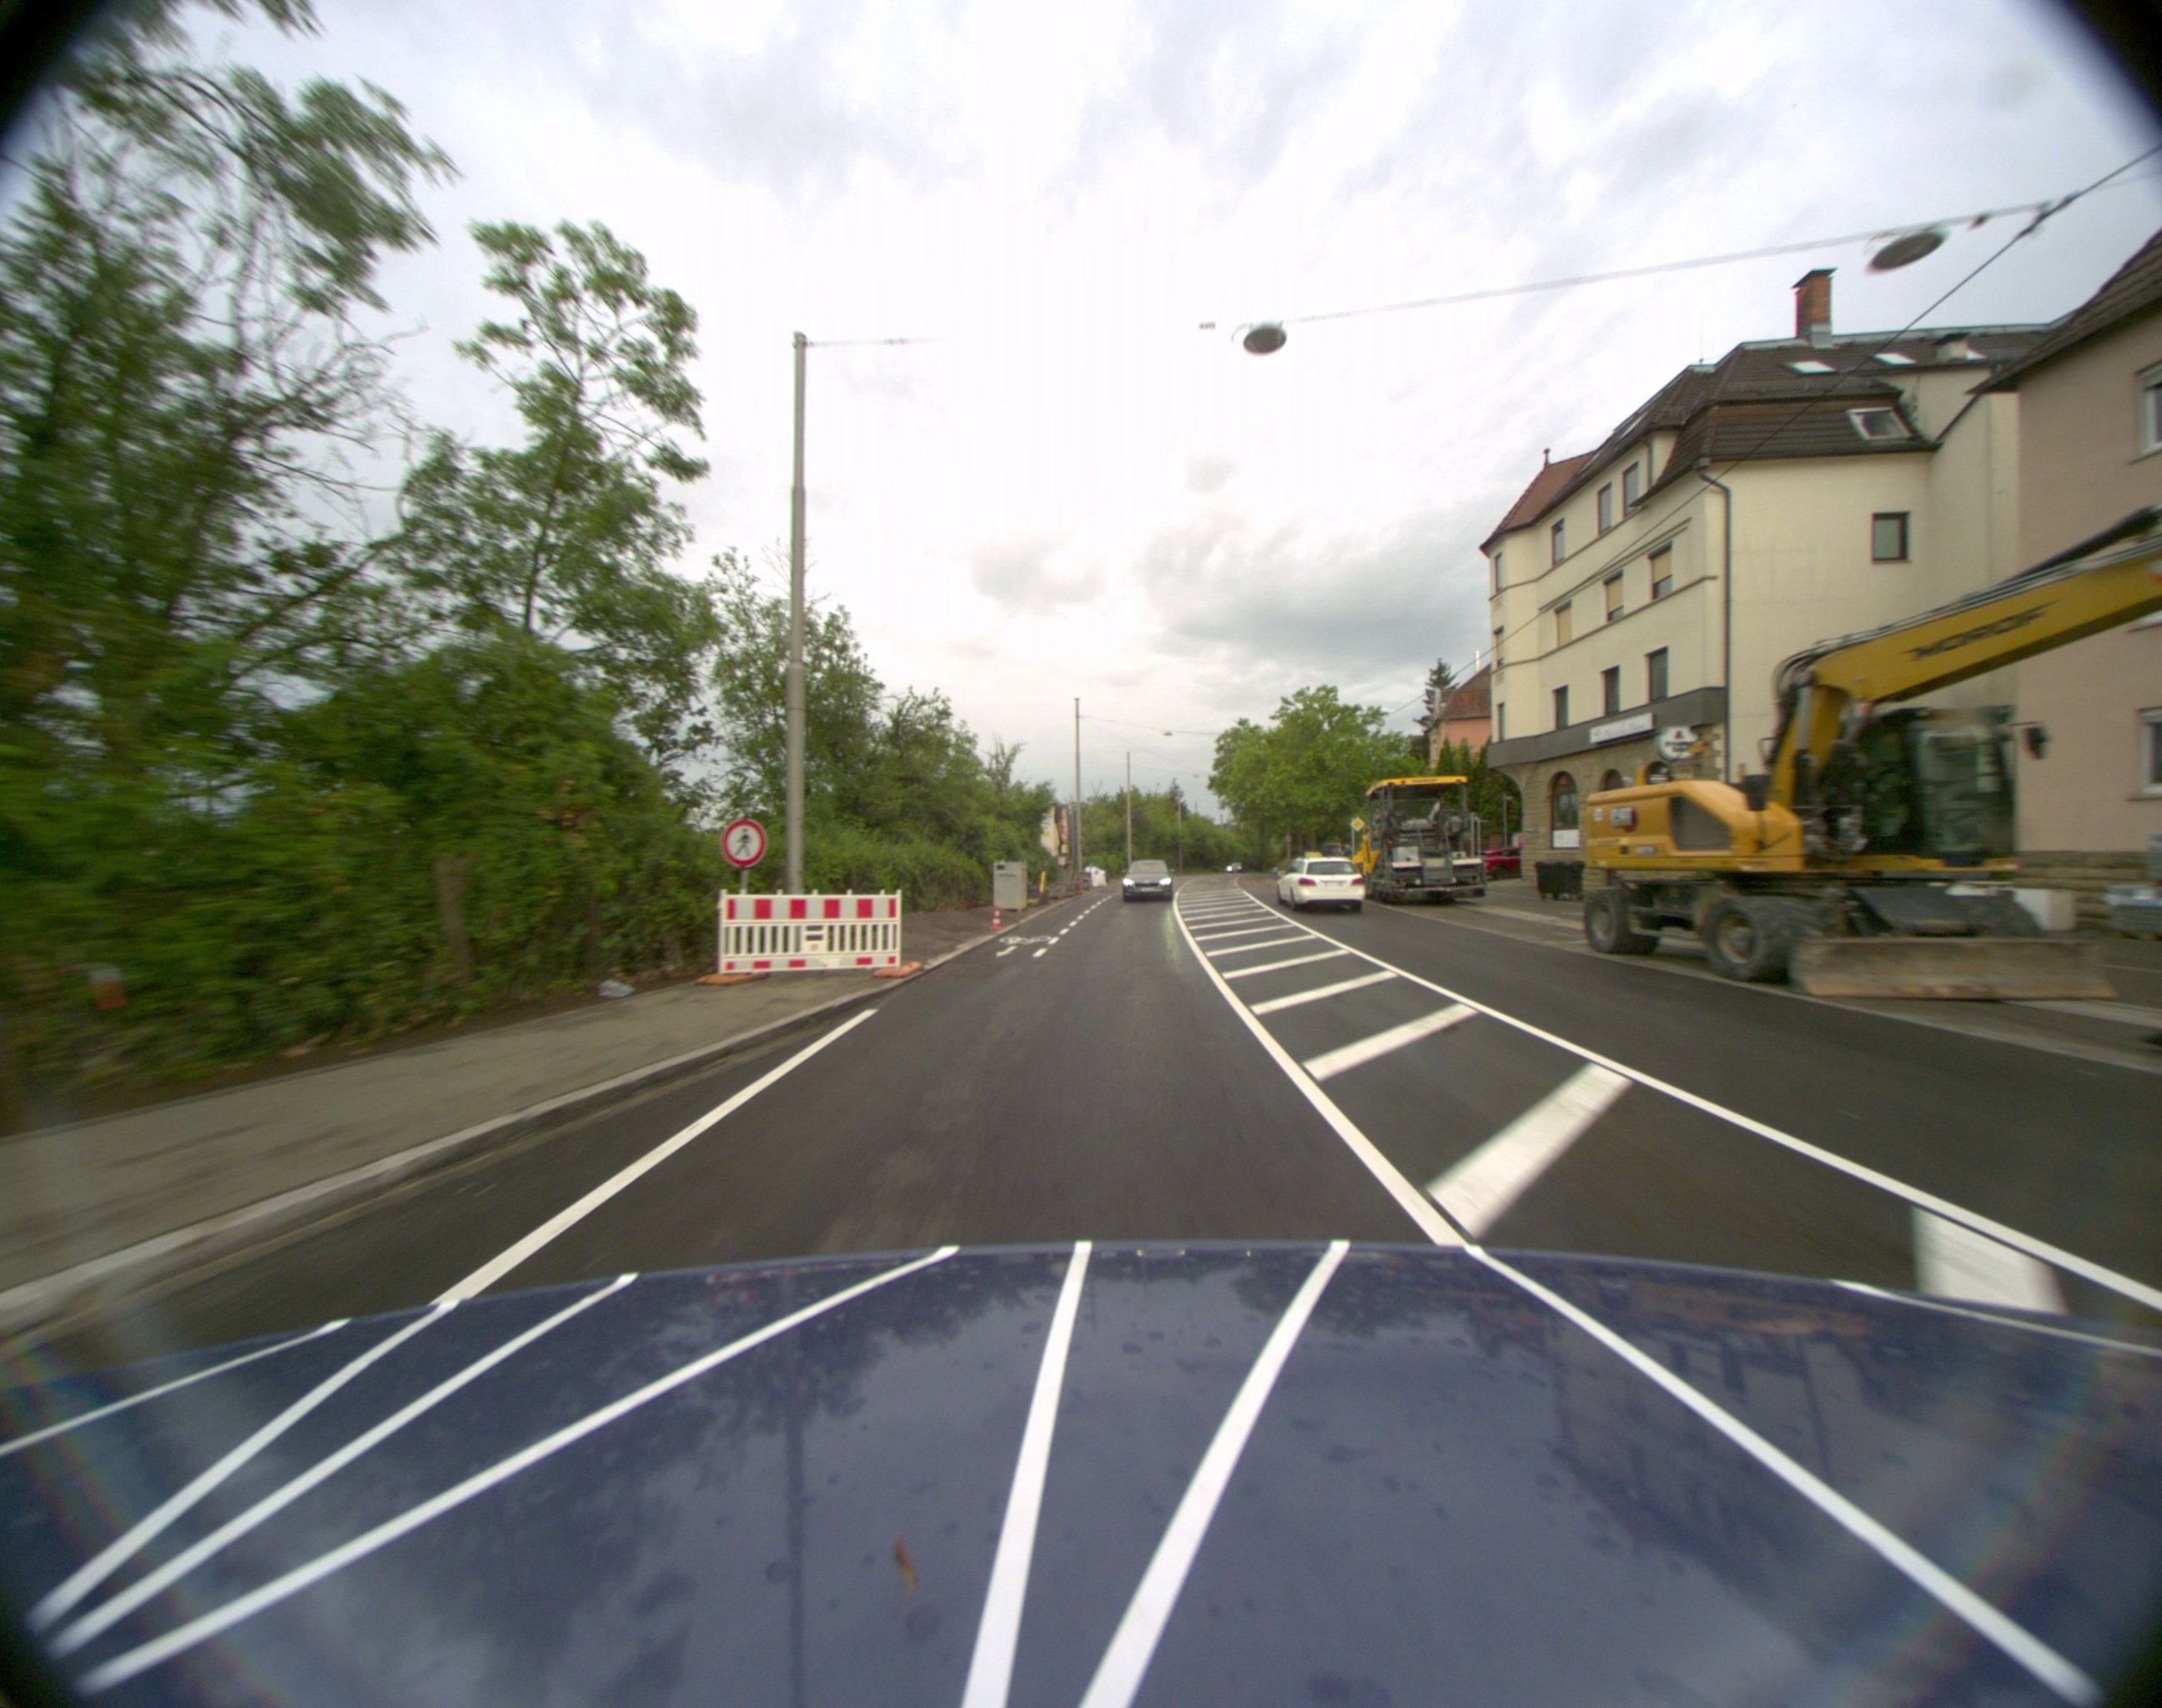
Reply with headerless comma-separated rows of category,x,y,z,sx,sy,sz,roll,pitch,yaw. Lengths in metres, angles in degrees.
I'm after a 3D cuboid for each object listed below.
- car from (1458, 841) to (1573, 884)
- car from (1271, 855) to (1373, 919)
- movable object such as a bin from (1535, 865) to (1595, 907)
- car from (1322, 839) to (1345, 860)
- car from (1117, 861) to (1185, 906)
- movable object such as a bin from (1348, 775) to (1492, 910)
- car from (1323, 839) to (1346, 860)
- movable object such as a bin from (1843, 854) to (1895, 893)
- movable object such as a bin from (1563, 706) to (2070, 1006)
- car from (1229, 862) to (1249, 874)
car,21.273,0.446,37.315,4.544,1.564,1.936,-6,-1,-7
car,6.819,0.869,22.041,1.932,1.546,4.621,-2,1,7
movable object such as a bin,14.617,0.977,22.968,0.894,1.215,1.202,-1,-2,-21
car,24.868,-0.434,74.854,1.832,1.832,4.636,-2,-2,21
car,2.669,1.080,28.089,1.979,1.496,4.005,-2,-2,12
movable object such as a bin,10.884,-0.229,25.096,2.779,3.831,5.994,-2,-2,9
car,26.654,-0.424,79.689,1.996,2.001,4.636,-2,-2,21
movable object such as a bin,20.429,0.514,19.699,0.623,0.968,0.647,-2,-2,0
movable object such as a bin,9.205,0.112,10.276,2.877,3.153,4.129,-2,-2,6
car,20.605,1.835,99.101,1.996,1.433,4.007,-2,-2,20
